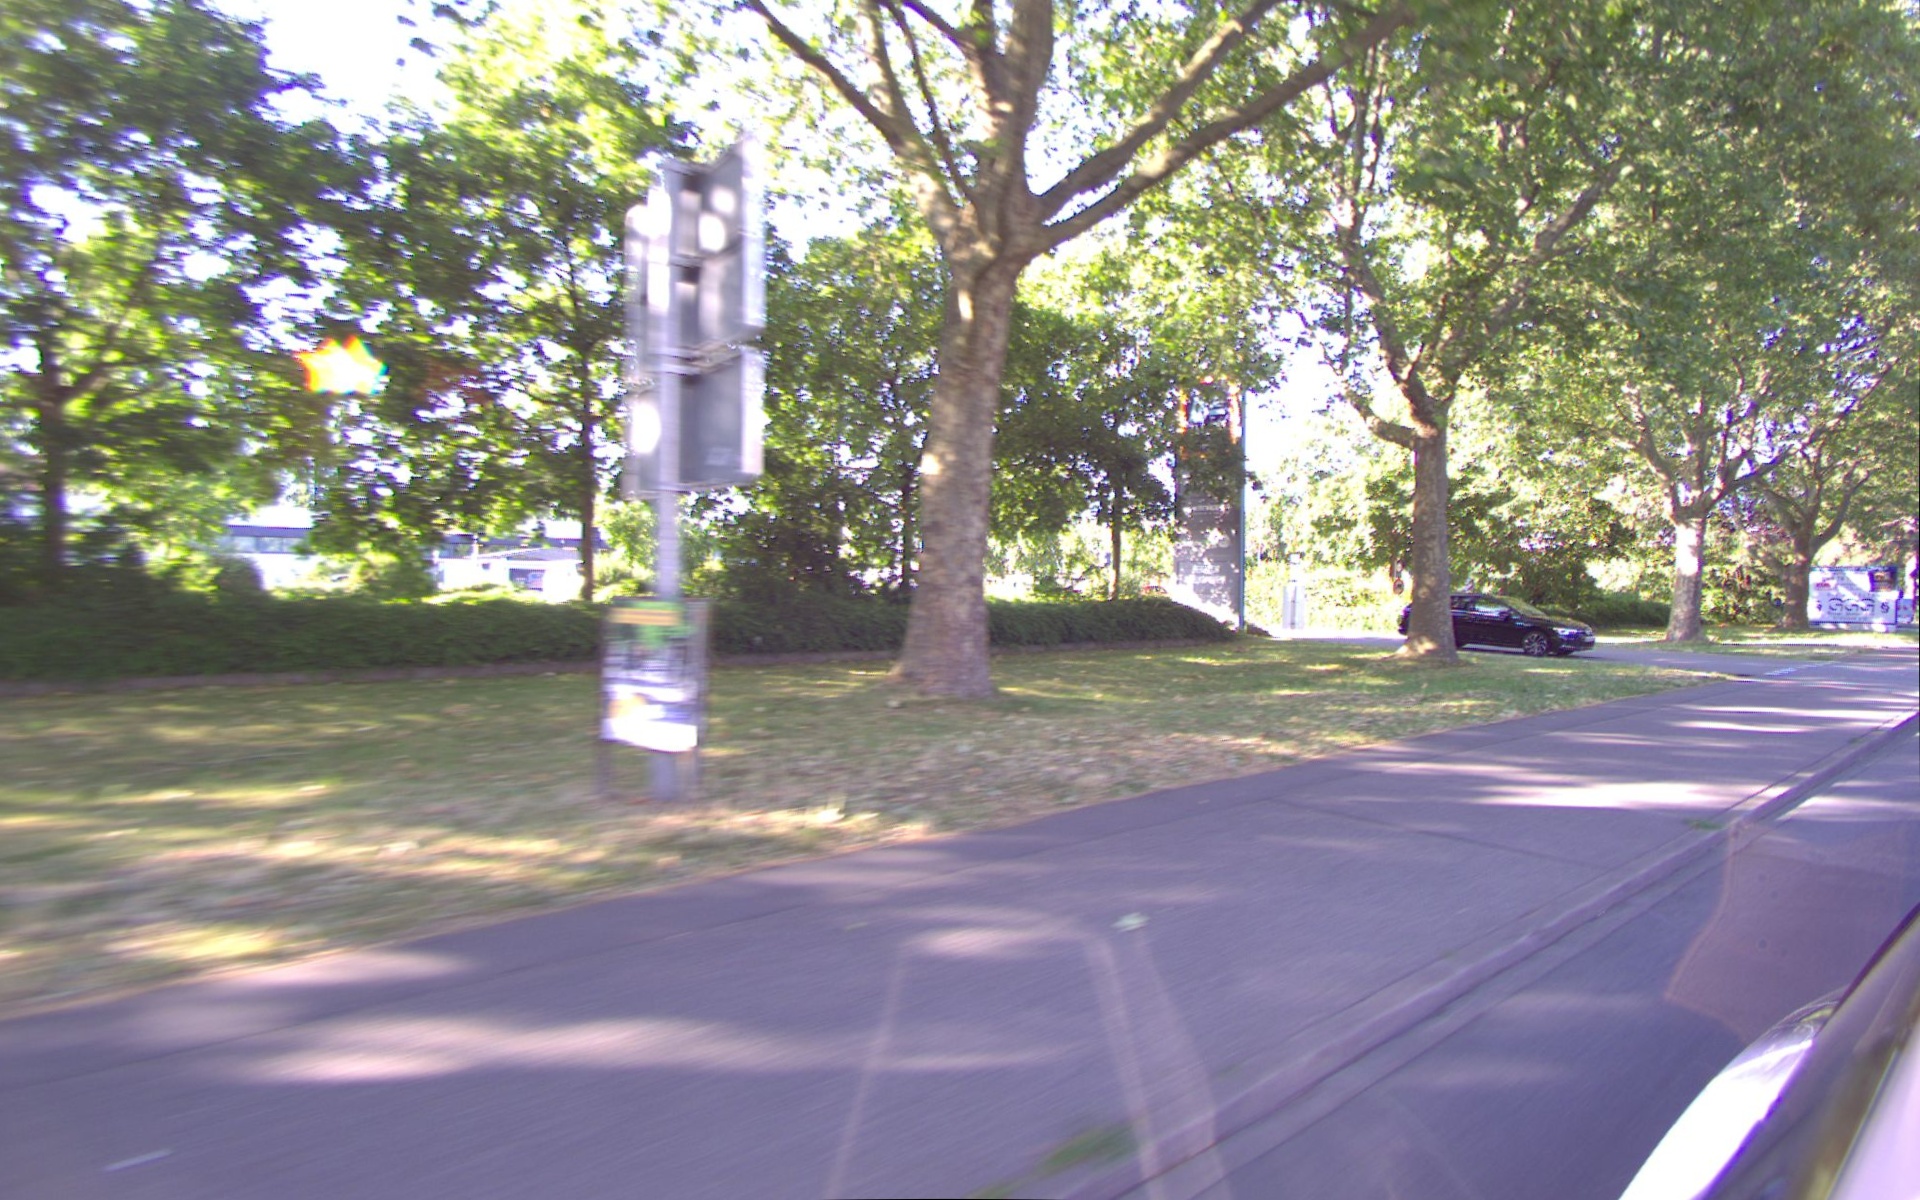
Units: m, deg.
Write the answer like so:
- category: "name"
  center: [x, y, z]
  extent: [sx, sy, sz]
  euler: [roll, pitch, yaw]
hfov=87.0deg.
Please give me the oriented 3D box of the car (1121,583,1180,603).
- category: "car"
  center: [13.663, -0.497, 72.513]
  extent: [3.923, 1.371, 2.001]
  euler: [1, 1, -35]

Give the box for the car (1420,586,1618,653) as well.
- category: "car"
  center: [13.929, 0.424, 25.419]
  extent: [1.728, 1.461, 3.999]
  euler: [0, 2, -37]

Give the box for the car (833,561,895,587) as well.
- category: "car"
  center: [-6.138, -1.627, 64.462]
  extent: [1.962, 1.571, 4.590]
  euler: [0, 1, -34]
